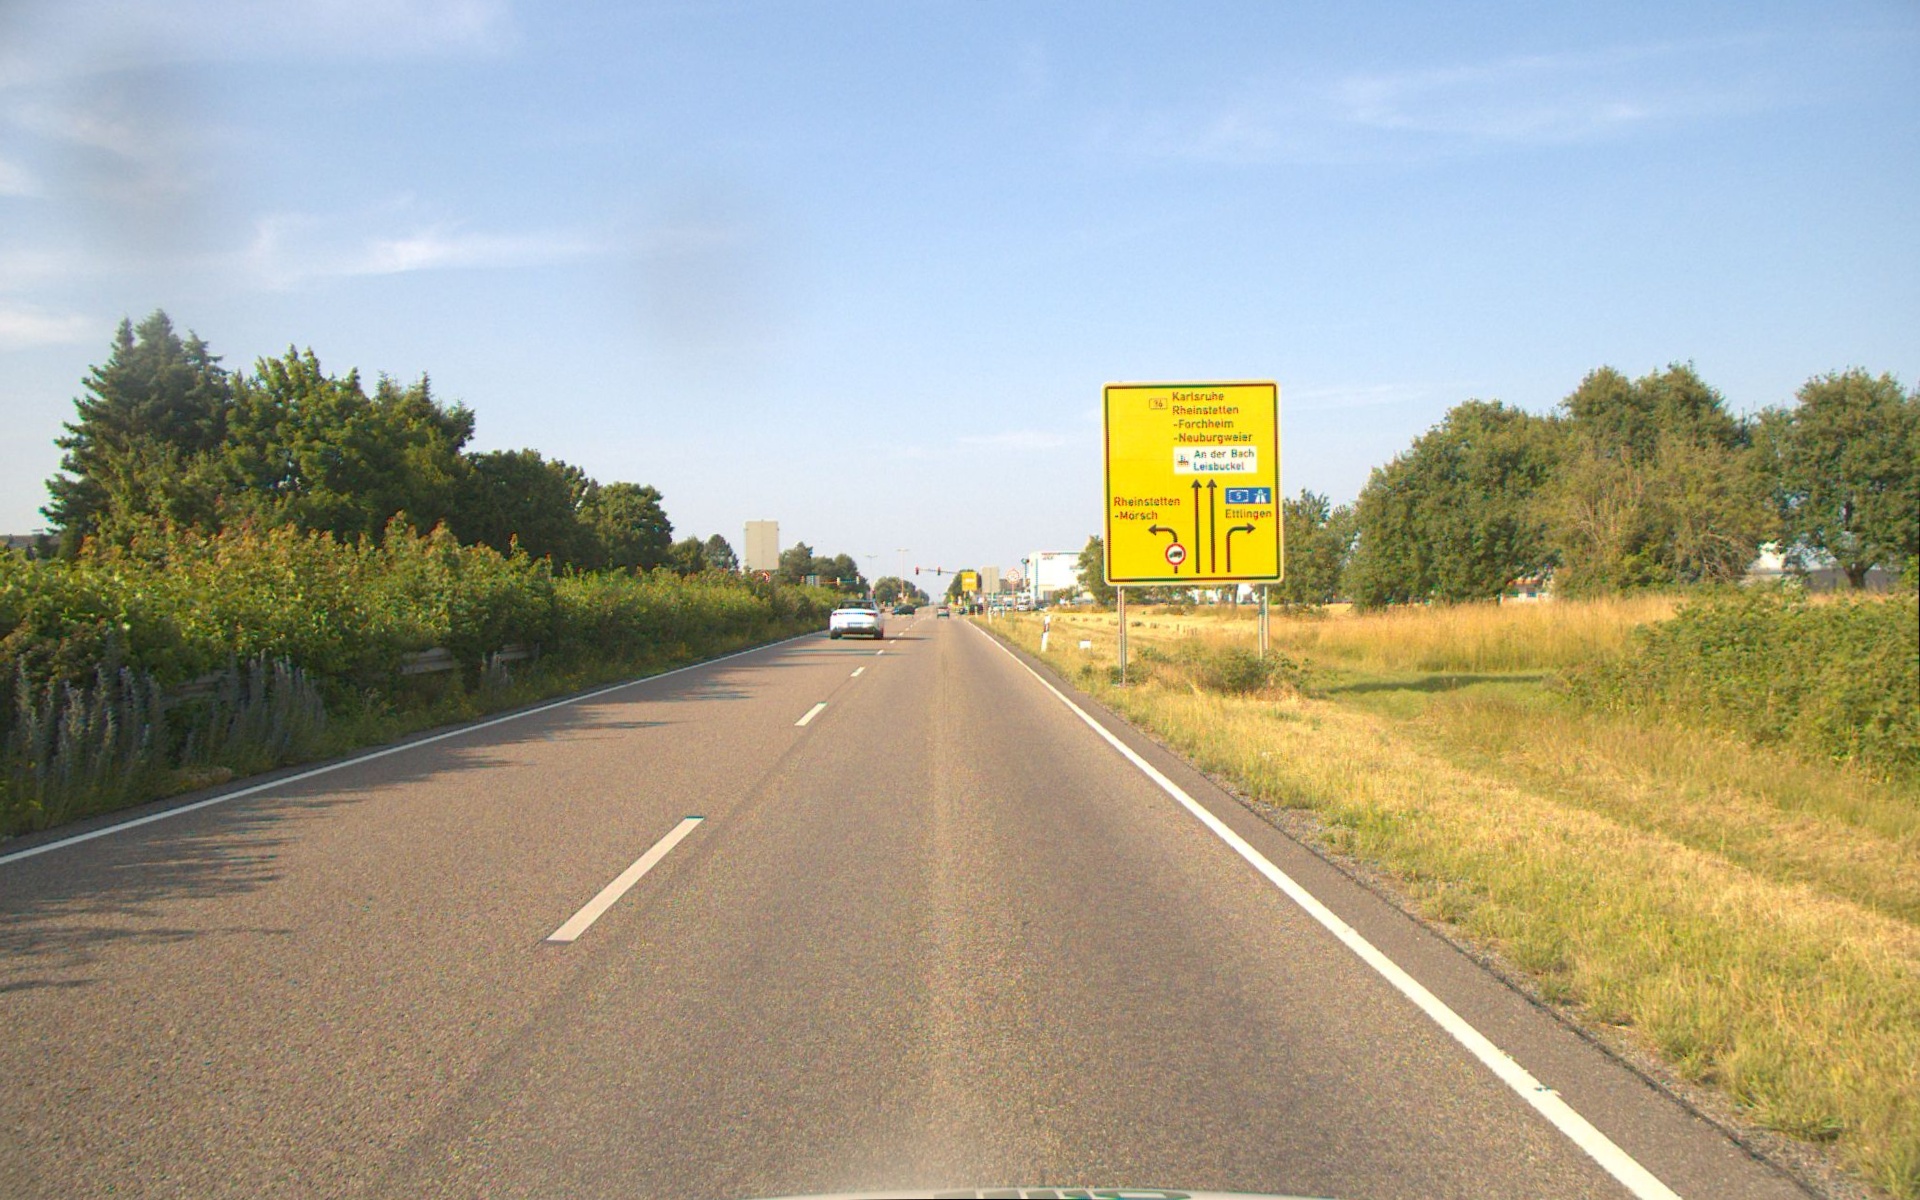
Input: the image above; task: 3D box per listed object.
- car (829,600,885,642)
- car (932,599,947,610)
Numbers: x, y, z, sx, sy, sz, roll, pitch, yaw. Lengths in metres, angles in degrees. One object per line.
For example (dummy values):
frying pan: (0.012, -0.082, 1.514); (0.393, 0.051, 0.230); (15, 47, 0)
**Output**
car: (-3.672, 0.730, 59.539); (1.871, 1.447, 3.999); (0, 0, -1)
car: (-2.753, 0.605, 223.808); (1.953, 1.512, 3.999); (0, 0, -1)
